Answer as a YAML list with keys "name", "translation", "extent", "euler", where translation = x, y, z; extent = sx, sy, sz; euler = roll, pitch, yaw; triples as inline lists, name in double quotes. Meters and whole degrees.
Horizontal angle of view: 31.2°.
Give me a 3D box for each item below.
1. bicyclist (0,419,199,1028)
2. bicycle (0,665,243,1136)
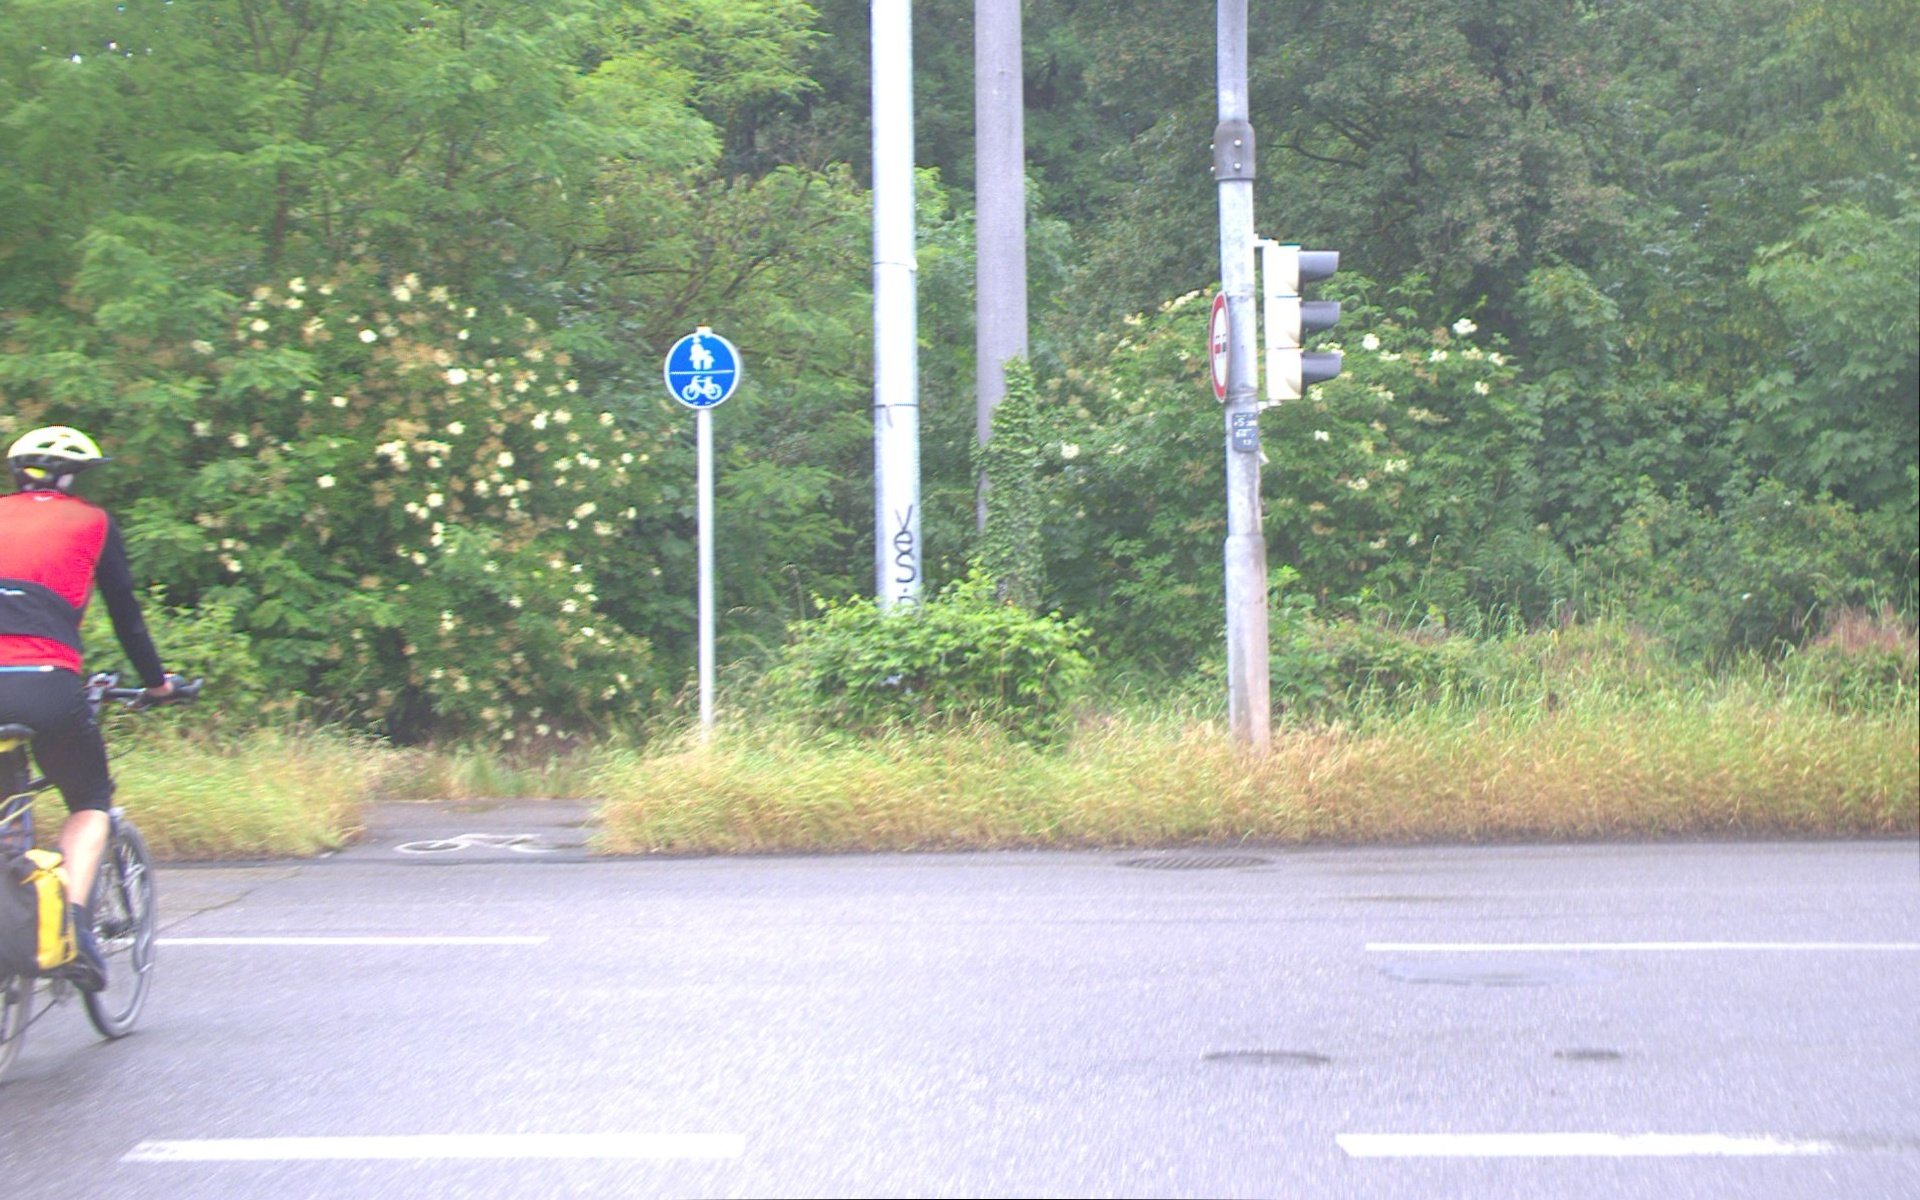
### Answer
- name: "bicyclist"
  translation: [-2.614, 0.321, 9.837]
  extent: [0.578, 1.647, 1.048]
  euler: [0, 1, 4]
- name: "bicycle"
  translation: [-2.619, 0.778, 9.760]
  extent: [0.578, 1.093, 2.154]
  euler: [0, 1, 4]
